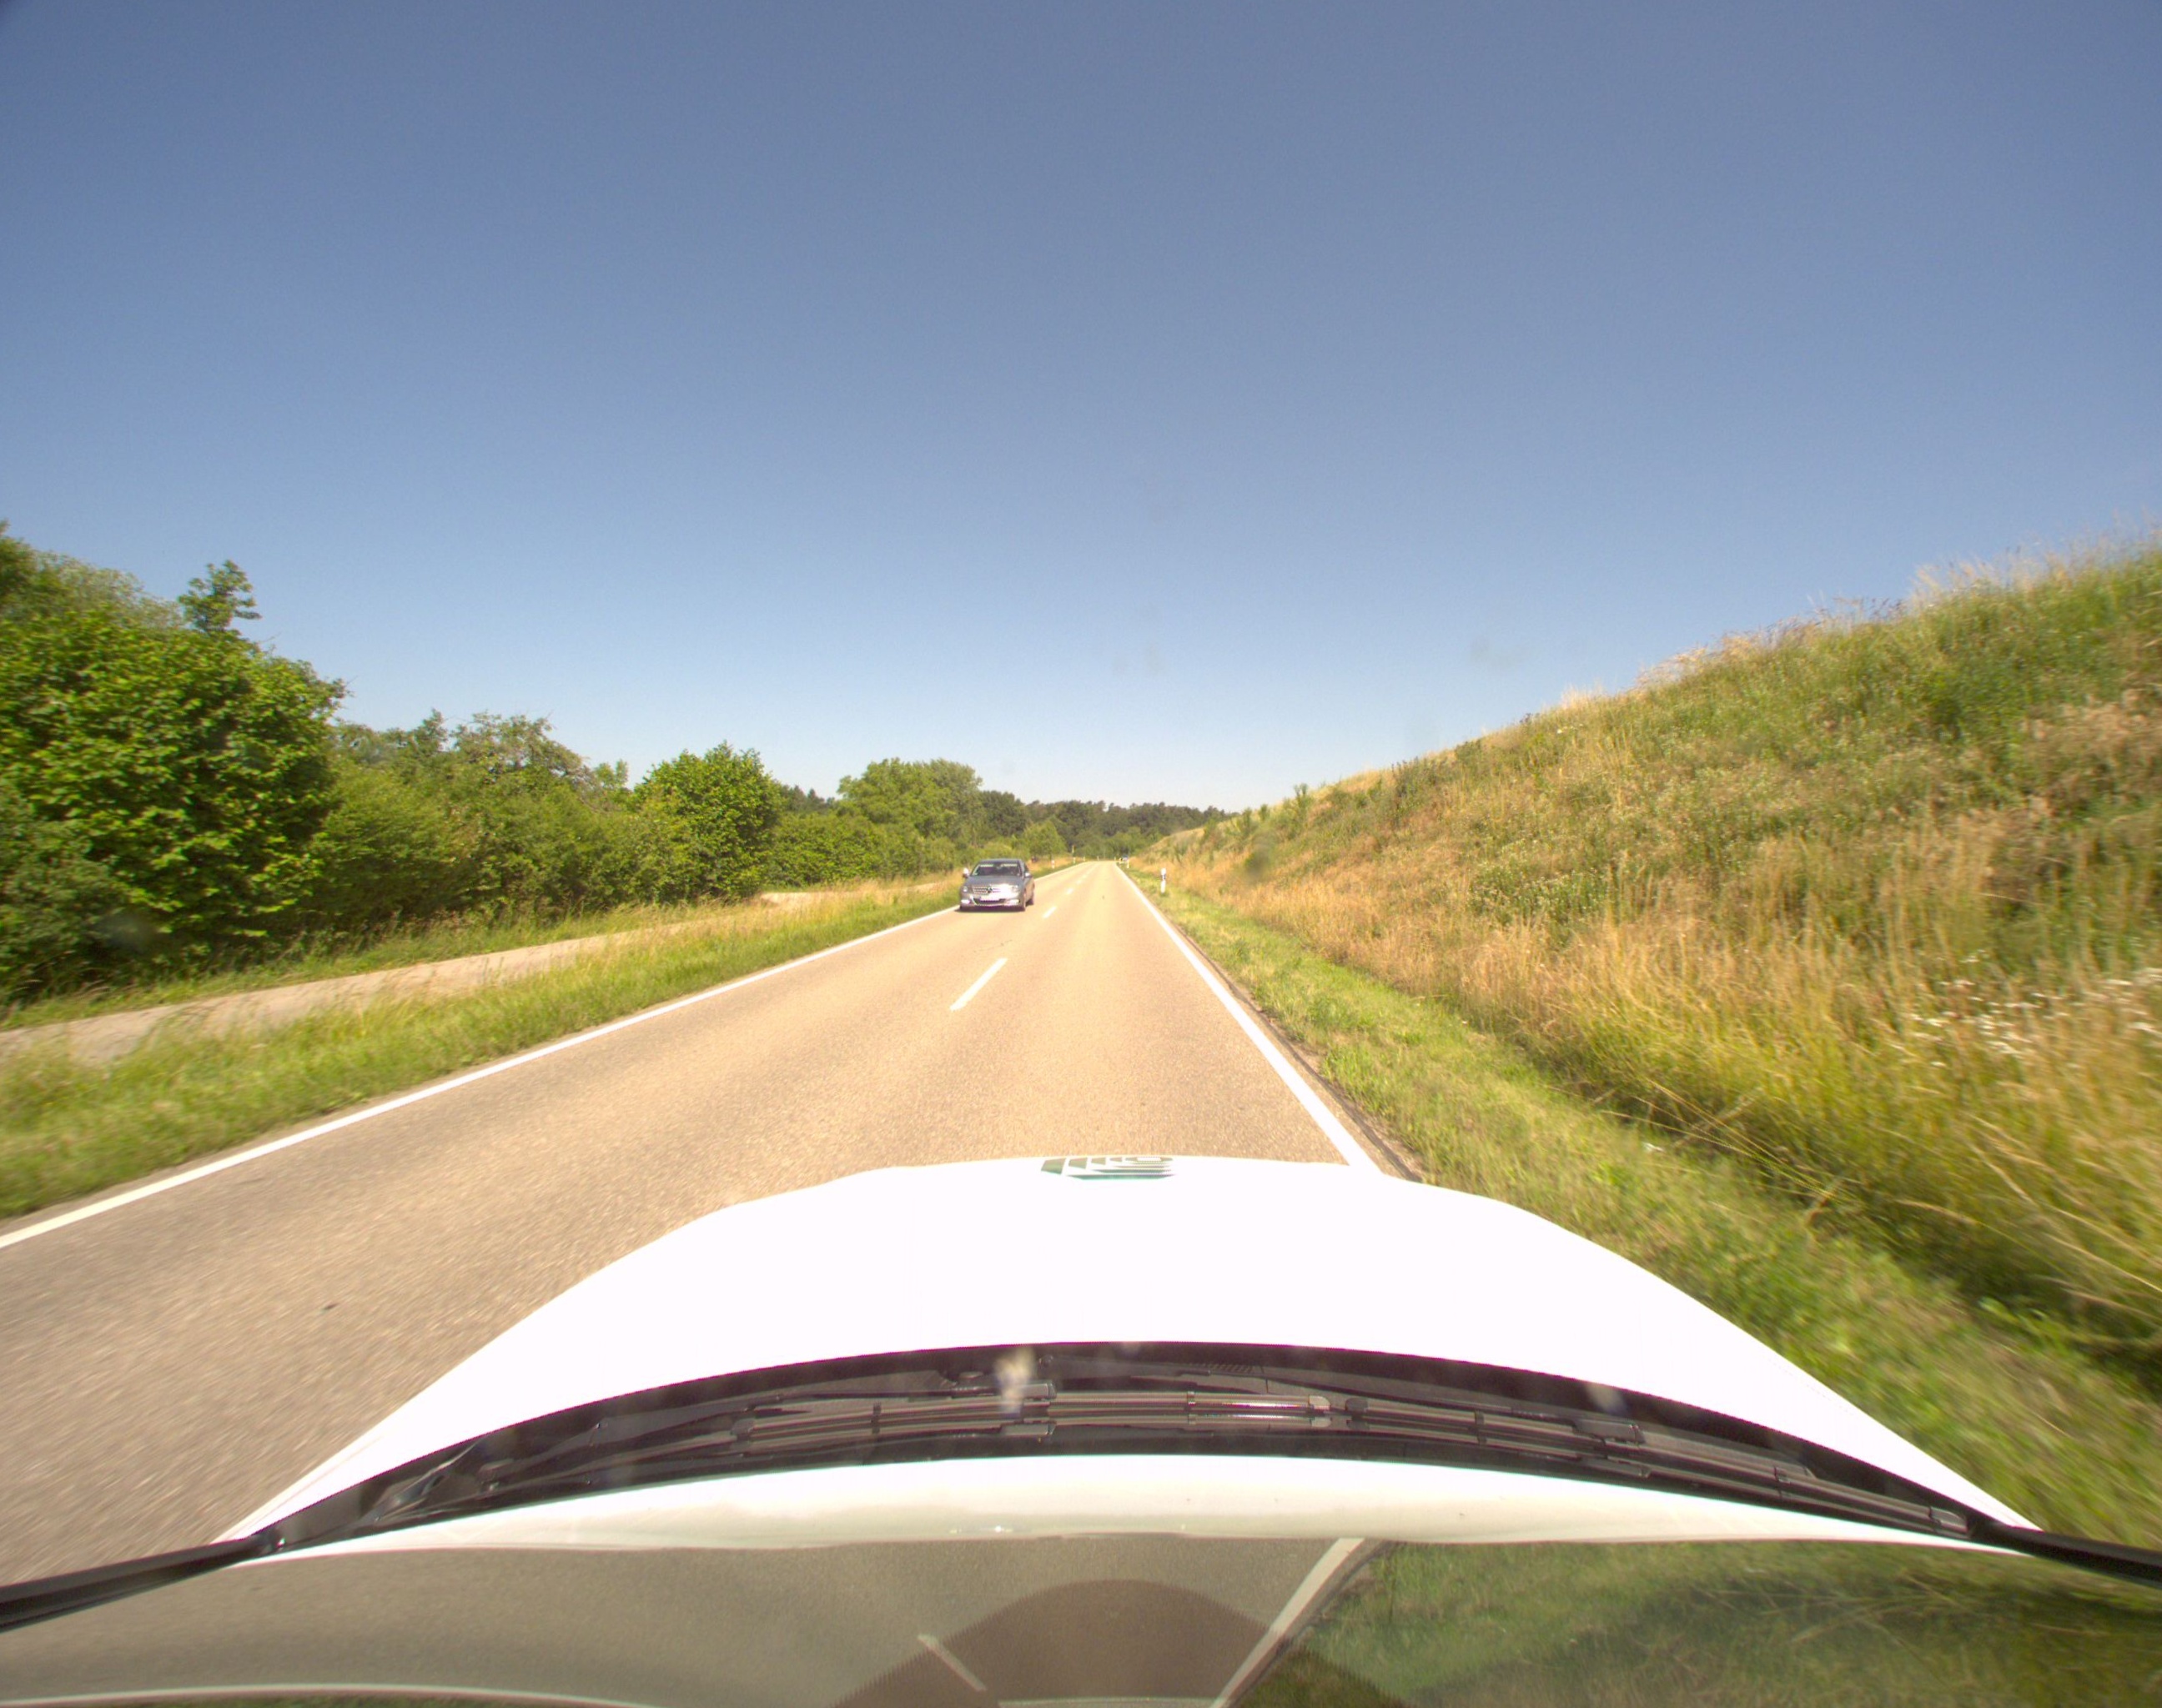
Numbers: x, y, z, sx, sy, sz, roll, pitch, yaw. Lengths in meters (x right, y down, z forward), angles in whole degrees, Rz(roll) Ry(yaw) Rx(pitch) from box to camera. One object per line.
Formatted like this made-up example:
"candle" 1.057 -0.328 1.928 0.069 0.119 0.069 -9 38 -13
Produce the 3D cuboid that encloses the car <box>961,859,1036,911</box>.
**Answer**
"car" -2.292 0.852 23.546 1.717 1.354 4.000 1 -1 0
